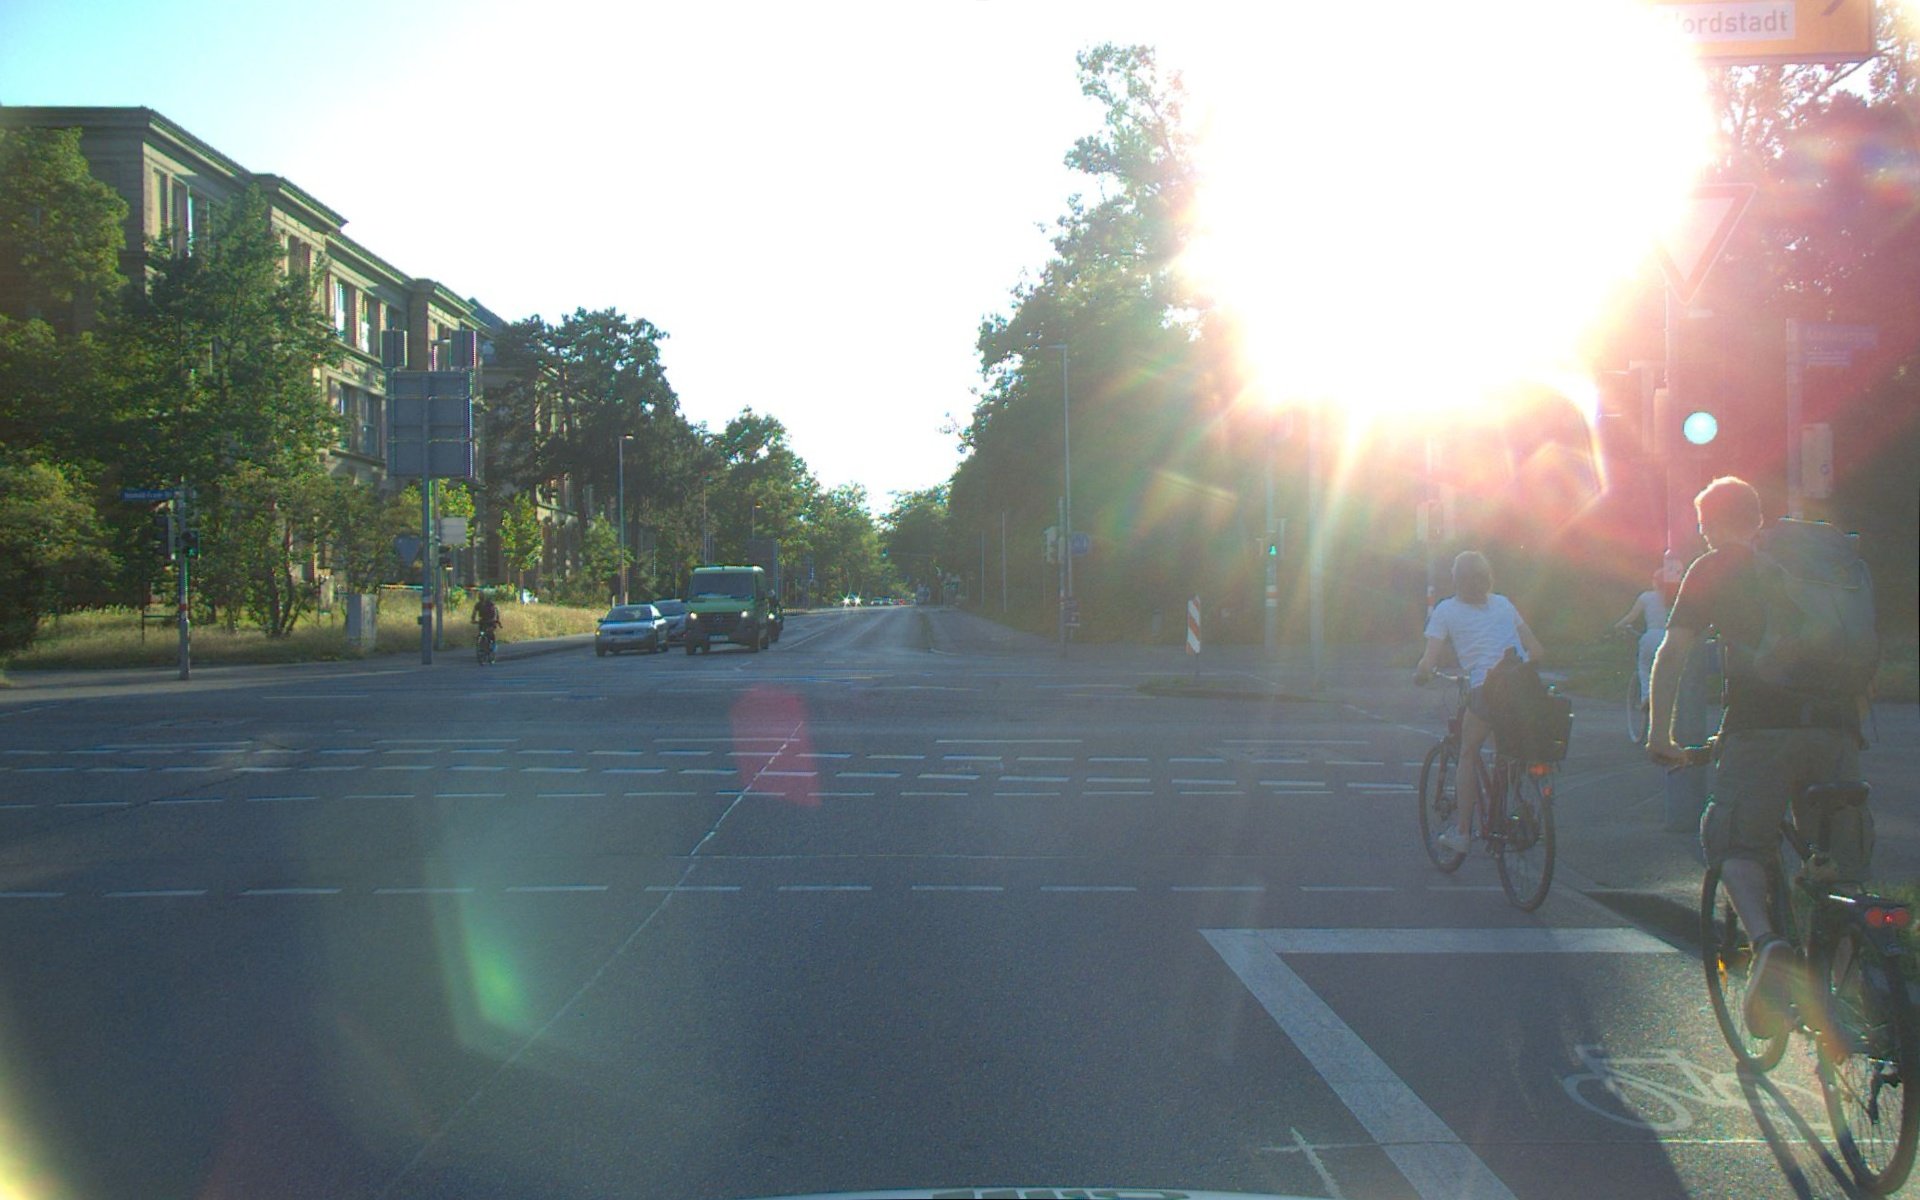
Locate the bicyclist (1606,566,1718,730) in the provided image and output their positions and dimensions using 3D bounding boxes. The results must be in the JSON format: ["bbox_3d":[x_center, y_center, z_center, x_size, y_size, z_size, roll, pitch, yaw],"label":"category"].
[{"bbox_3d":[6.754,0.448,15.948,0.744,1.544,0.857,0,0,2],"label":"bicyclist"}]

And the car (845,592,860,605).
[{"bbox_3d":[-13.381,-0.175,206.155,1.735,1.500,3.772,-1,0,-5],"label":"car"}]

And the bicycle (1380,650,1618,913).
[{"bbox_3d":[2.741,0.871,8.613,0.601,1.158,1.884,0,0,-1],"label":"bicycle"}]

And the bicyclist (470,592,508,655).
[{"bbox_3d":[-11.690,0.578,41.049,0.669,1.539,0.955,-1,0,-1],"label":"bicyclist"}]

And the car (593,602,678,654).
[{"bbox_3d":[-9.426,0.779,48.301,1.694,1.433,4.139,-1,0,-1],"label":"car"}]

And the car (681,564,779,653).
[{"bbox_3d":[-6.357,0.213,46.348,1.997,2.317,5.940,-1,0,-1],"label":"car"}]

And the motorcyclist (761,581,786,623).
[{"bbox_3d":[-6.198,0.068,55.088,0.734,1.382,0.704,-1,-1,-1],"label":"motorcyclist"}]

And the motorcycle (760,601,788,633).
[{"bbox_3d":[-6.196,0.554,55.099,0.739,1.019,1.878,-1,0,-1],"label":"motorcycle"}]

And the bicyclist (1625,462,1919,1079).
[{"bbox_3d":[2.479,0.467,4.973,0.683,1.696,0.799,1,0,5],"label":"bicyclist"}]

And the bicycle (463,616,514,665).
[{"bbox_3d":[-11.687,0.984,41.037,0.672,1.143,2.168,-1,0,-1],"label":"bicycle"}]

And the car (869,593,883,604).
[{"bbox_3d":[-12.706,-0.233,249.397,1.954,1.668,3.997,-1,0,-4],"label":"car"}]

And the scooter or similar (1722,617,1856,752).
[{"bbox_3d":[7.836,0.774,15.695,0.550,1.210,1.422,0,-1,0],"label":"scooter or similar"}]

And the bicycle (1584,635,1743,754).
[{"bbox_3d":[6.762,0.882,16.013,0.755,1.024,2.017,0,0,2],"label":"bicycle"}]

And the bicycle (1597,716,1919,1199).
[{"bbox_3d":[2.467,0.945,4.795,0.684,1.081,1.826,0,0,5],"label":"bicycle"}]

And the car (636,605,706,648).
[{"bbox_3d":[-9.584,0.865,55.054,1.729,1.351,3.642,-1,0,-1],"label":"car"}]

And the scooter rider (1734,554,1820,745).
[{"bbox_3d":[7.837,0.467,15.873,0.554,1.797,0.505,-1,-1,0],"label":"scooter rider"}]

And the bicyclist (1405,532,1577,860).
[{"bbox_3d":[2.742,0.474,8.608,0.591,1.613,0.909,0,0,-1],"label":"bicyclist"}]
